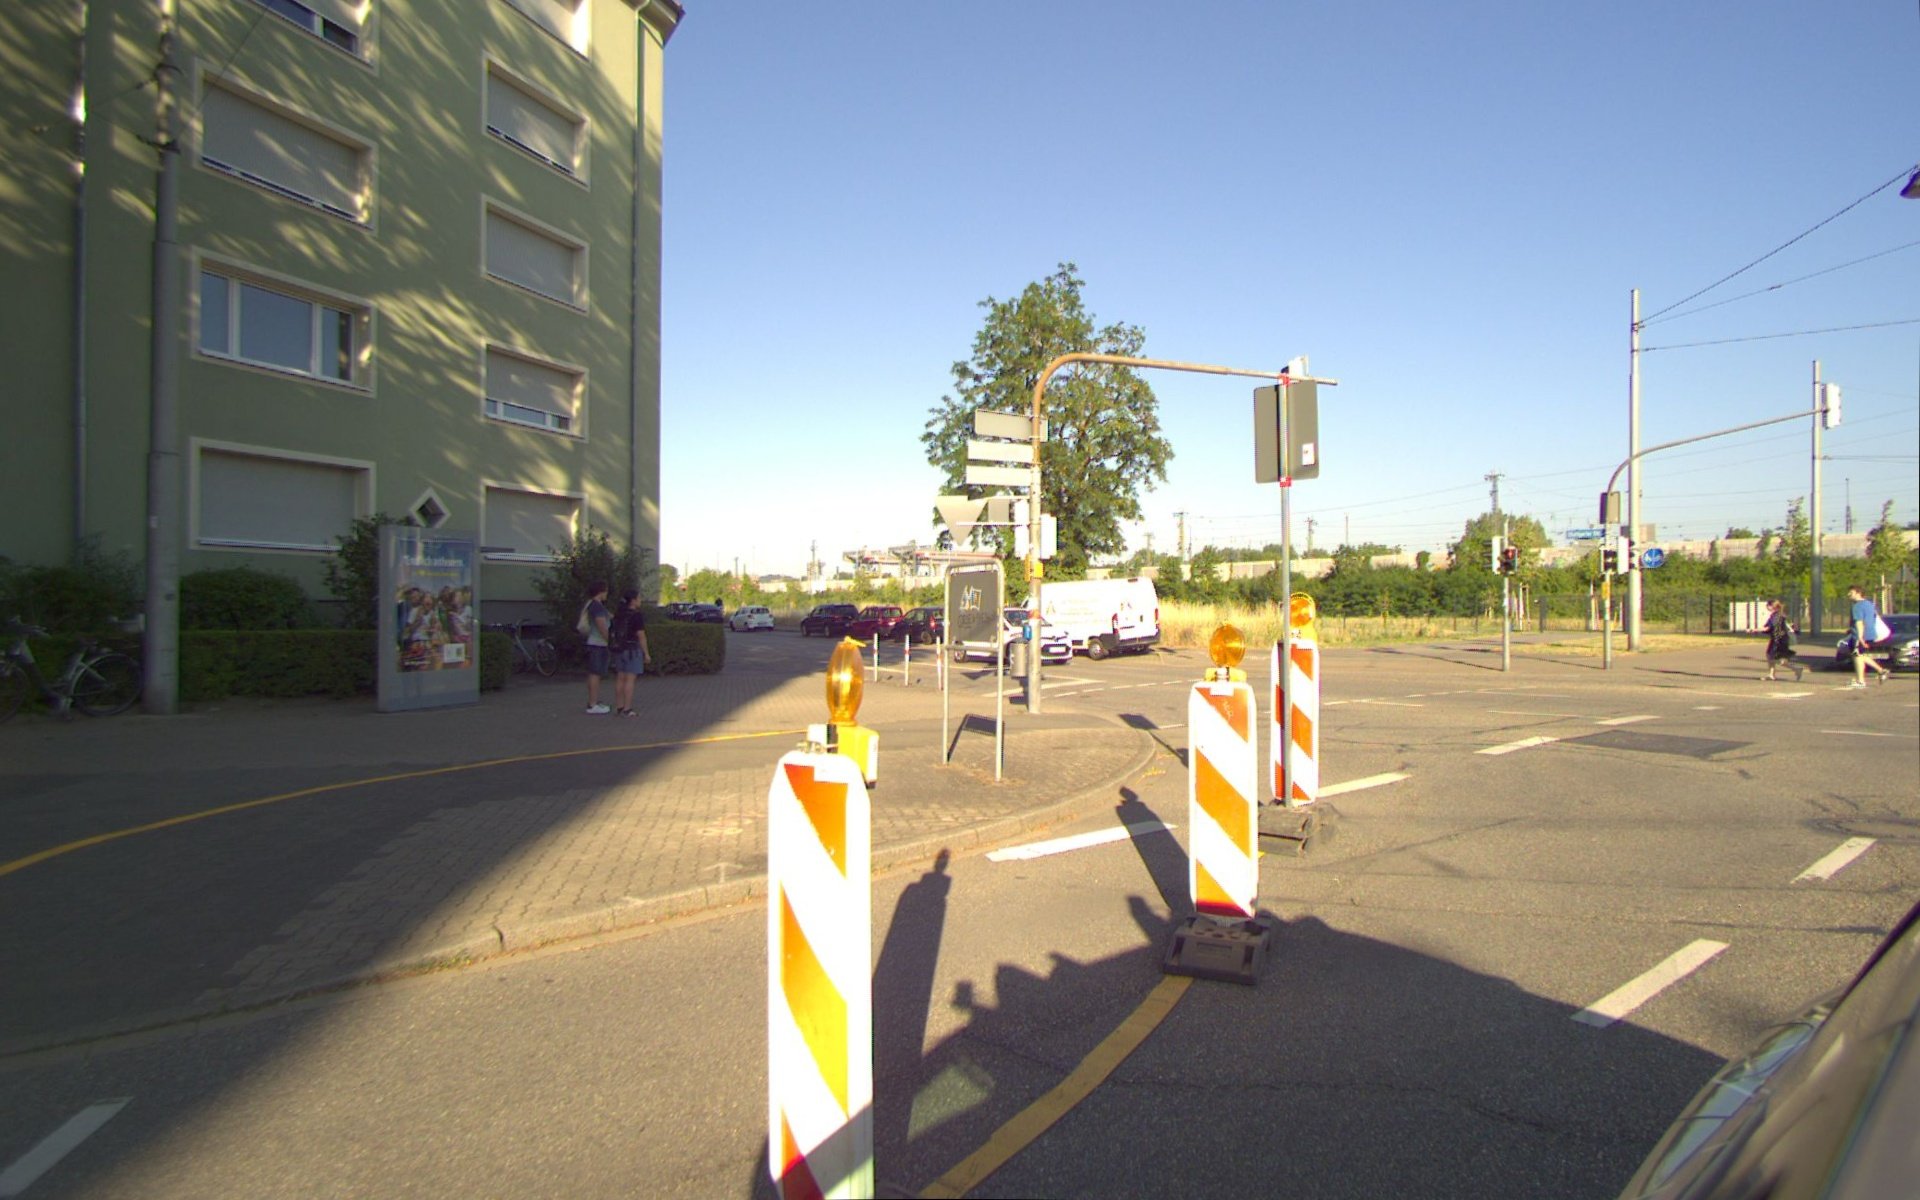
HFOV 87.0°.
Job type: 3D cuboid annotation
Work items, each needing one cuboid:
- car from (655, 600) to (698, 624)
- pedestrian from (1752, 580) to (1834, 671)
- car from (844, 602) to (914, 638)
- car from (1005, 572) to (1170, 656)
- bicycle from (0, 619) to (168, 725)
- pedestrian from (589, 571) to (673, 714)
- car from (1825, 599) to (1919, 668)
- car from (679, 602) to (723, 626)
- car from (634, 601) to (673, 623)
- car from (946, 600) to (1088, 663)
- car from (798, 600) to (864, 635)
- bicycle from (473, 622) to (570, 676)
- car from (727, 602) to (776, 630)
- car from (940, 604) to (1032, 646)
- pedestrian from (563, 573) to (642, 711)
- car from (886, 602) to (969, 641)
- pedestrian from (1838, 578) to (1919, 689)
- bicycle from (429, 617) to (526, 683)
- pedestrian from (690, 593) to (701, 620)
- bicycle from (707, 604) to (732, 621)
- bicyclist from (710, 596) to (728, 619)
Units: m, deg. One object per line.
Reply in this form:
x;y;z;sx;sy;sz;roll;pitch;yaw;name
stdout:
-20.039;0.824;71.487;1.789;1.658;4.222;0;0;-32;car
16.690;0.497;20.294;0.897;1.769;1.067;0;0;-35;pedestrian
-3.753;0.891;46.296;1.633;1.549;3.579;0;0;-34;car
4.098;0.419;33.616;2.195;2.466;5.560;-3;2;-35;car
-9.946;0.764;11.123;0.517;1.070;1.912;-1;0;31;bicycle
-4.246;0.529;13.076;0.689;1.773;0.784;-1;-1;38;pedestrian
23.356;0.773;24.854;4.191;1.587;2.001;0;-1;-32;car
-17.074;0.901;66.604;1.788;1.545;4.294;0;0;-29;car
-23.046;0.910;75.963;1.789;1.594;4.222;0;0;-32;car
1.386;0.747;25.949;1.673;1.487;3.775;0;0;-35;car
-6.437;0.831;50.063;1.633;1.680;4.006;0;0;-34;car
-8.646;0.948;19.941;1.825;1.015;0.642;0;0;20;bicycle
-12.209;0.915;59.104;1.674;1.545;3.584;0;0;-33;car
0.946;0.916;38.983;1.713;1.506;3.694;0;0;-34;car
-4.788;0.542;13.561;0.782;1.773;0.691;0;-1;-44;pedestrian
-1.415;0.887;42.664;1.713;1.549;3.817;0;0;-34;car
16.801;0.587;18.411;0.897;1.949;1.067;0;-1;-35;pedestrian
-8.340;0.842;17.462;1.917;1.070;0.515;0;-1;30;bicycle
-19.897;0.511;76.174;0.604;2.039;0.730;0;-1;-36;pedestrian
-17.319;0.894;72.809;0.922;1.204;2.482;0;0;-35;bicycle
-17.361;0.549;72.851;0.851;1.617;1.145;0;-1;-36;bicyclist
